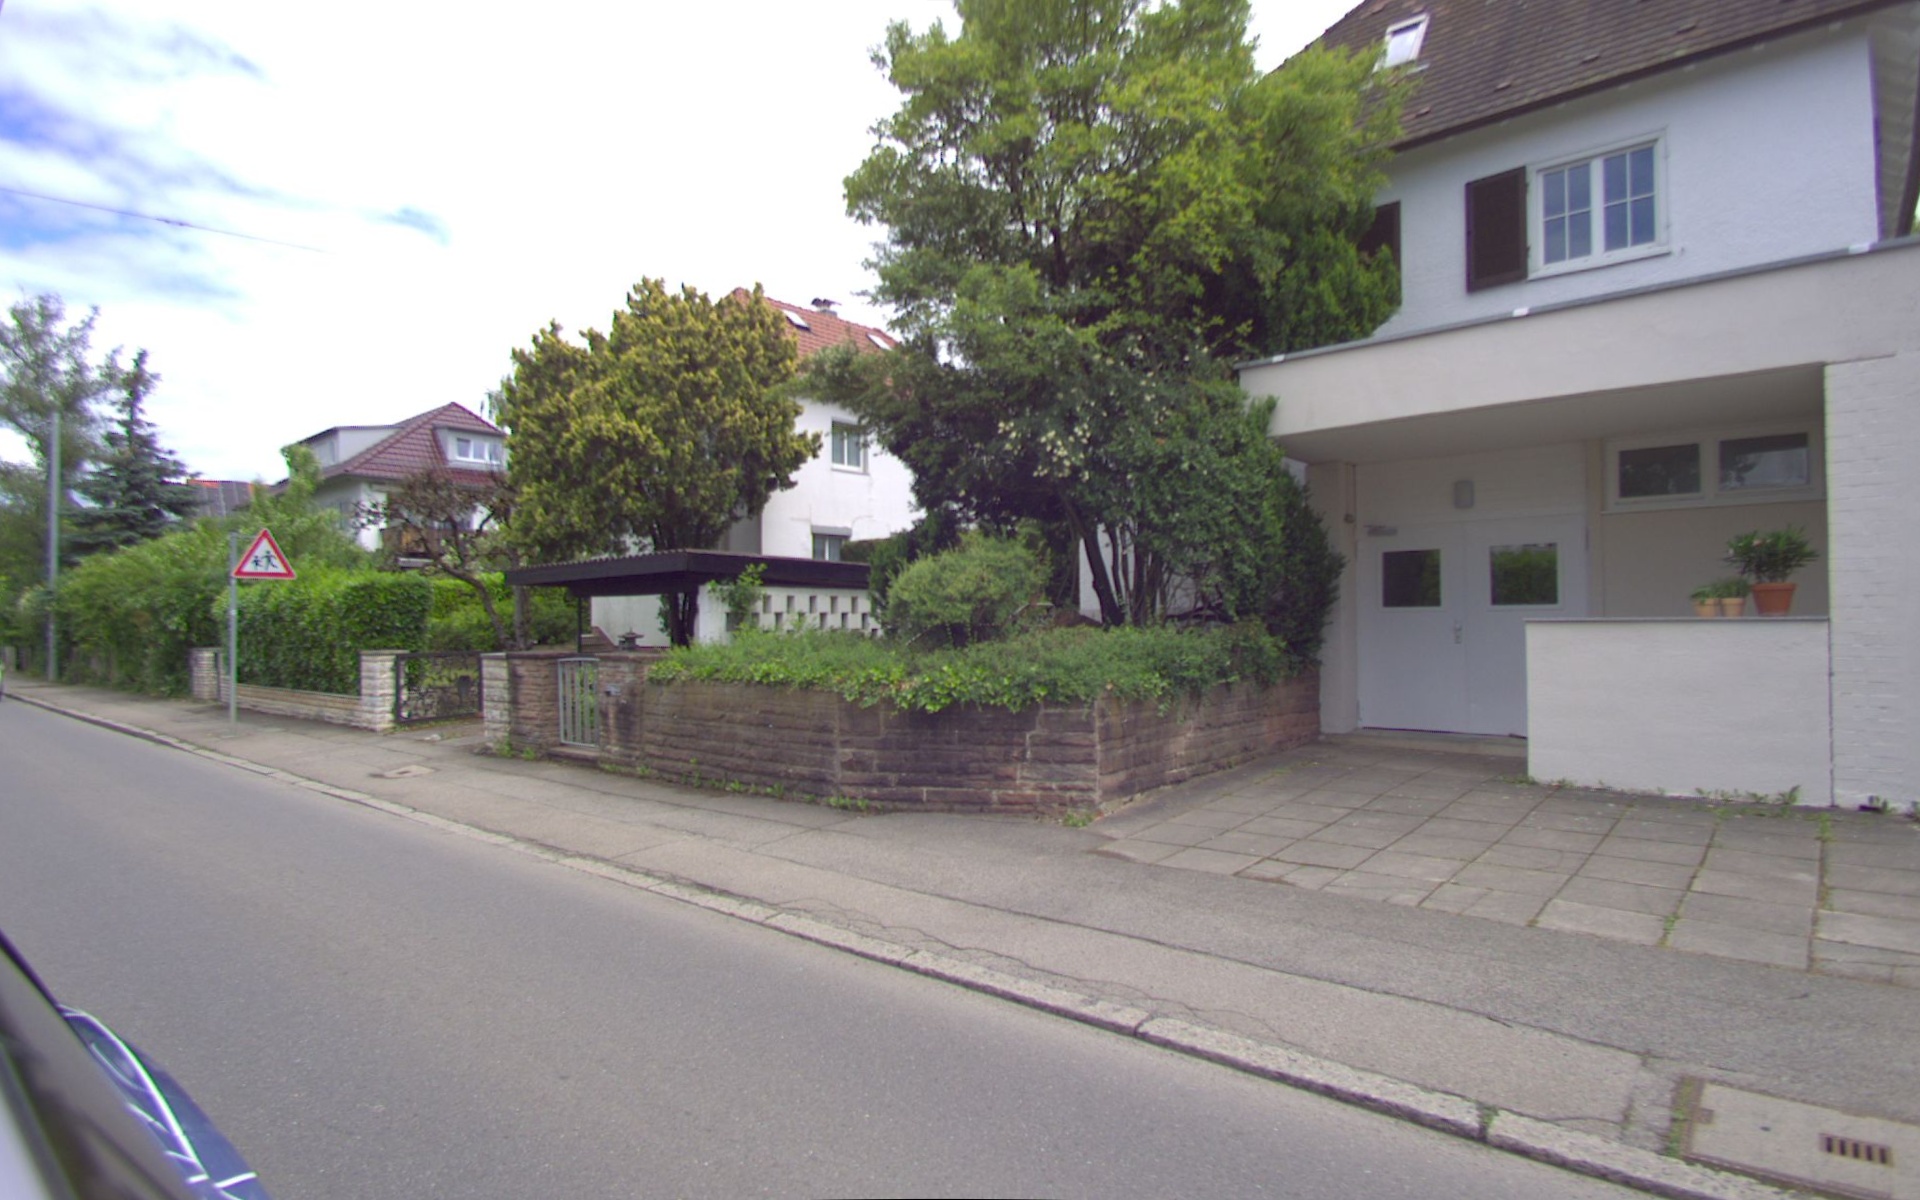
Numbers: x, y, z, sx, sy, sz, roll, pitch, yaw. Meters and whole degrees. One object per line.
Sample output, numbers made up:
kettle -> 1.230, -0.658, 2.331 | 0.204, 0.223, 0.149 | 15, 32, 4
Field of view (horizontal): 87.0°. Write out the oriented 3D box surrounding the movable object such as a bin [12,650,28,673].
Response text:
movable object such as a bin -> -40.316, 2.621, 43.406 | 0.511, 0.958, 0.375 | -2, 1, 39

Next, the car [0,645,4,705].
car -> -25.904, 1.881, 25.712 | 4.278, 1.462, 1.835 | -2, -4, 40
